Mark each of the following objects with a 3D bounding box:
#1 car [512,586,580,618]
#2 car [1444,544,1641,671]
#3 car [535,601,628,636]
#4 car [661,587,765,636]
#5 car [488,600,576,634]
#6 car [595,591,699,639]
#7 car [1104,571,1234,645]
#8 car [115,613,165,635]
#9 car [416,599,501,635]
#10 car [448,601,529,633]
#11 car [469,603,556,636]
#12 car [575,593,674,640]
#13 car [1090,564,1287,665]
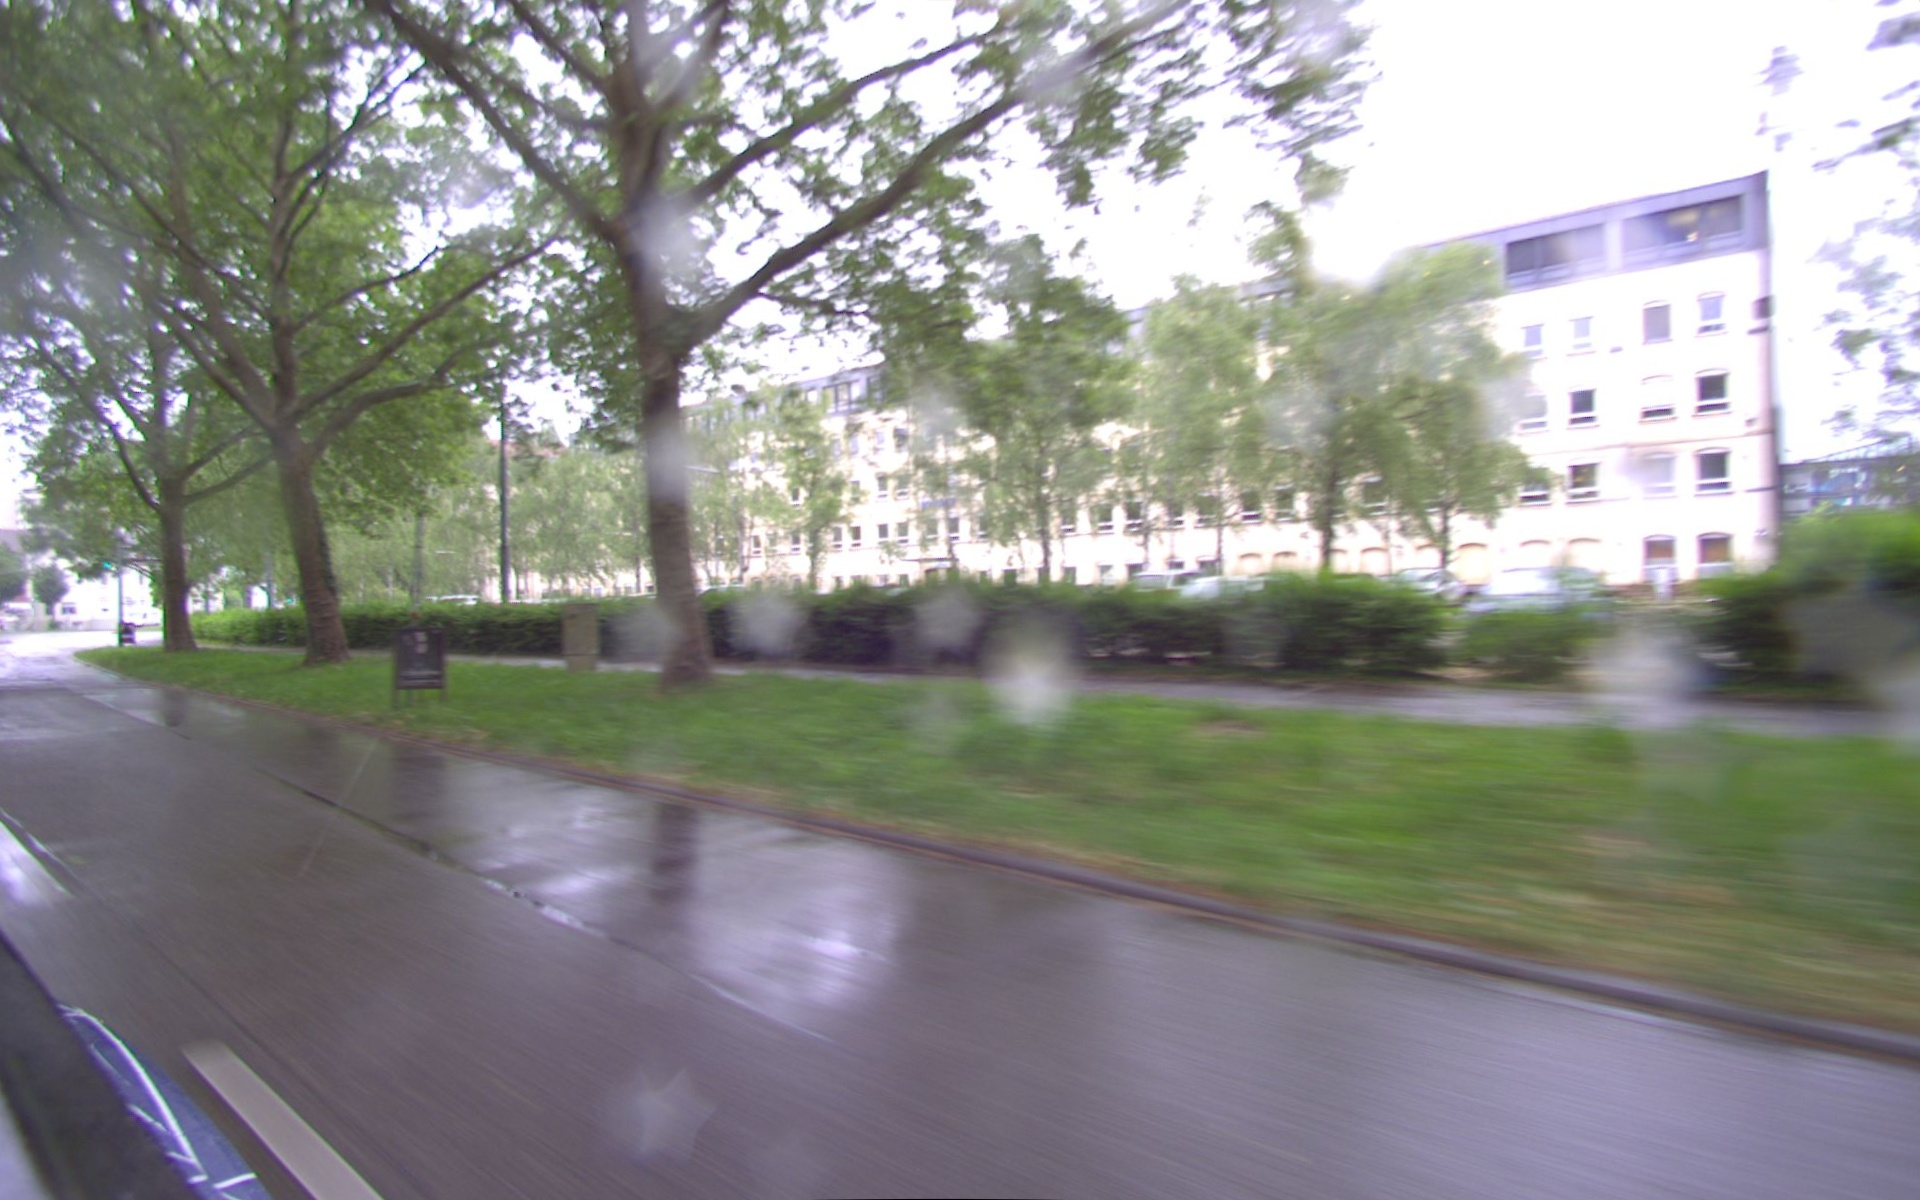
[{"bbox_3d":[-45.173,0.206,110.496,2.835,3.217,6.137,-2,1,38],"label":"car"},{"bbox_3d":[8.734,0.174,15.024,1.997,1.606,3.949,-2,-3,38],"label":"car"},{"bbox_3d":[-18.969,0.897,50.785,1.886,1.562,3.944,-2,1,43],"label":"car"},{"bbox_3d":[-10.750,0.498,44.214,1.999,2.029,3.945,-2,-1,41],"label":"car"},{"bbox_3d":[-23.050,0.911,54.616,1.854,1.611,3.946,-2,1,41],"label":"car"},{"bbox_3d":[-13.791,0.647,44.736,1.999,2.029,3.945,-2,-1,41],"label":"car"},{"bbox_3d":[6.220,0.225,29.875,2.000,2.029,3.944,-2,-1,42],"label":"car"},{"bbox_3d":[-93.039,2.720,114.912,2.161,2.272,4.894,-2,0,-9],"label":"car"},{"bbox_3d":[-29.031,0.958,58.681,1.851,1.846,3.950,-2,1,37],"label":"car"},{"bbox_3d":[-26.471,0.948,56.896,1.716,1.611,3.771,-2,1,38],"label":"car"},{"bbox_3d":[-24.727,1.045,56.001,1.854,1.611,3.946,-2,1,41],"label":"car"},{"bbox_3d":[-15.828,0.764,47.845,1.999,2.149,3.944,-2,-1,42],"label":"car"},{"bbox_3d":[4.221,0.316,18.315,1.997,1.606,3.949,-2,-3,38],"label":"car"}]
